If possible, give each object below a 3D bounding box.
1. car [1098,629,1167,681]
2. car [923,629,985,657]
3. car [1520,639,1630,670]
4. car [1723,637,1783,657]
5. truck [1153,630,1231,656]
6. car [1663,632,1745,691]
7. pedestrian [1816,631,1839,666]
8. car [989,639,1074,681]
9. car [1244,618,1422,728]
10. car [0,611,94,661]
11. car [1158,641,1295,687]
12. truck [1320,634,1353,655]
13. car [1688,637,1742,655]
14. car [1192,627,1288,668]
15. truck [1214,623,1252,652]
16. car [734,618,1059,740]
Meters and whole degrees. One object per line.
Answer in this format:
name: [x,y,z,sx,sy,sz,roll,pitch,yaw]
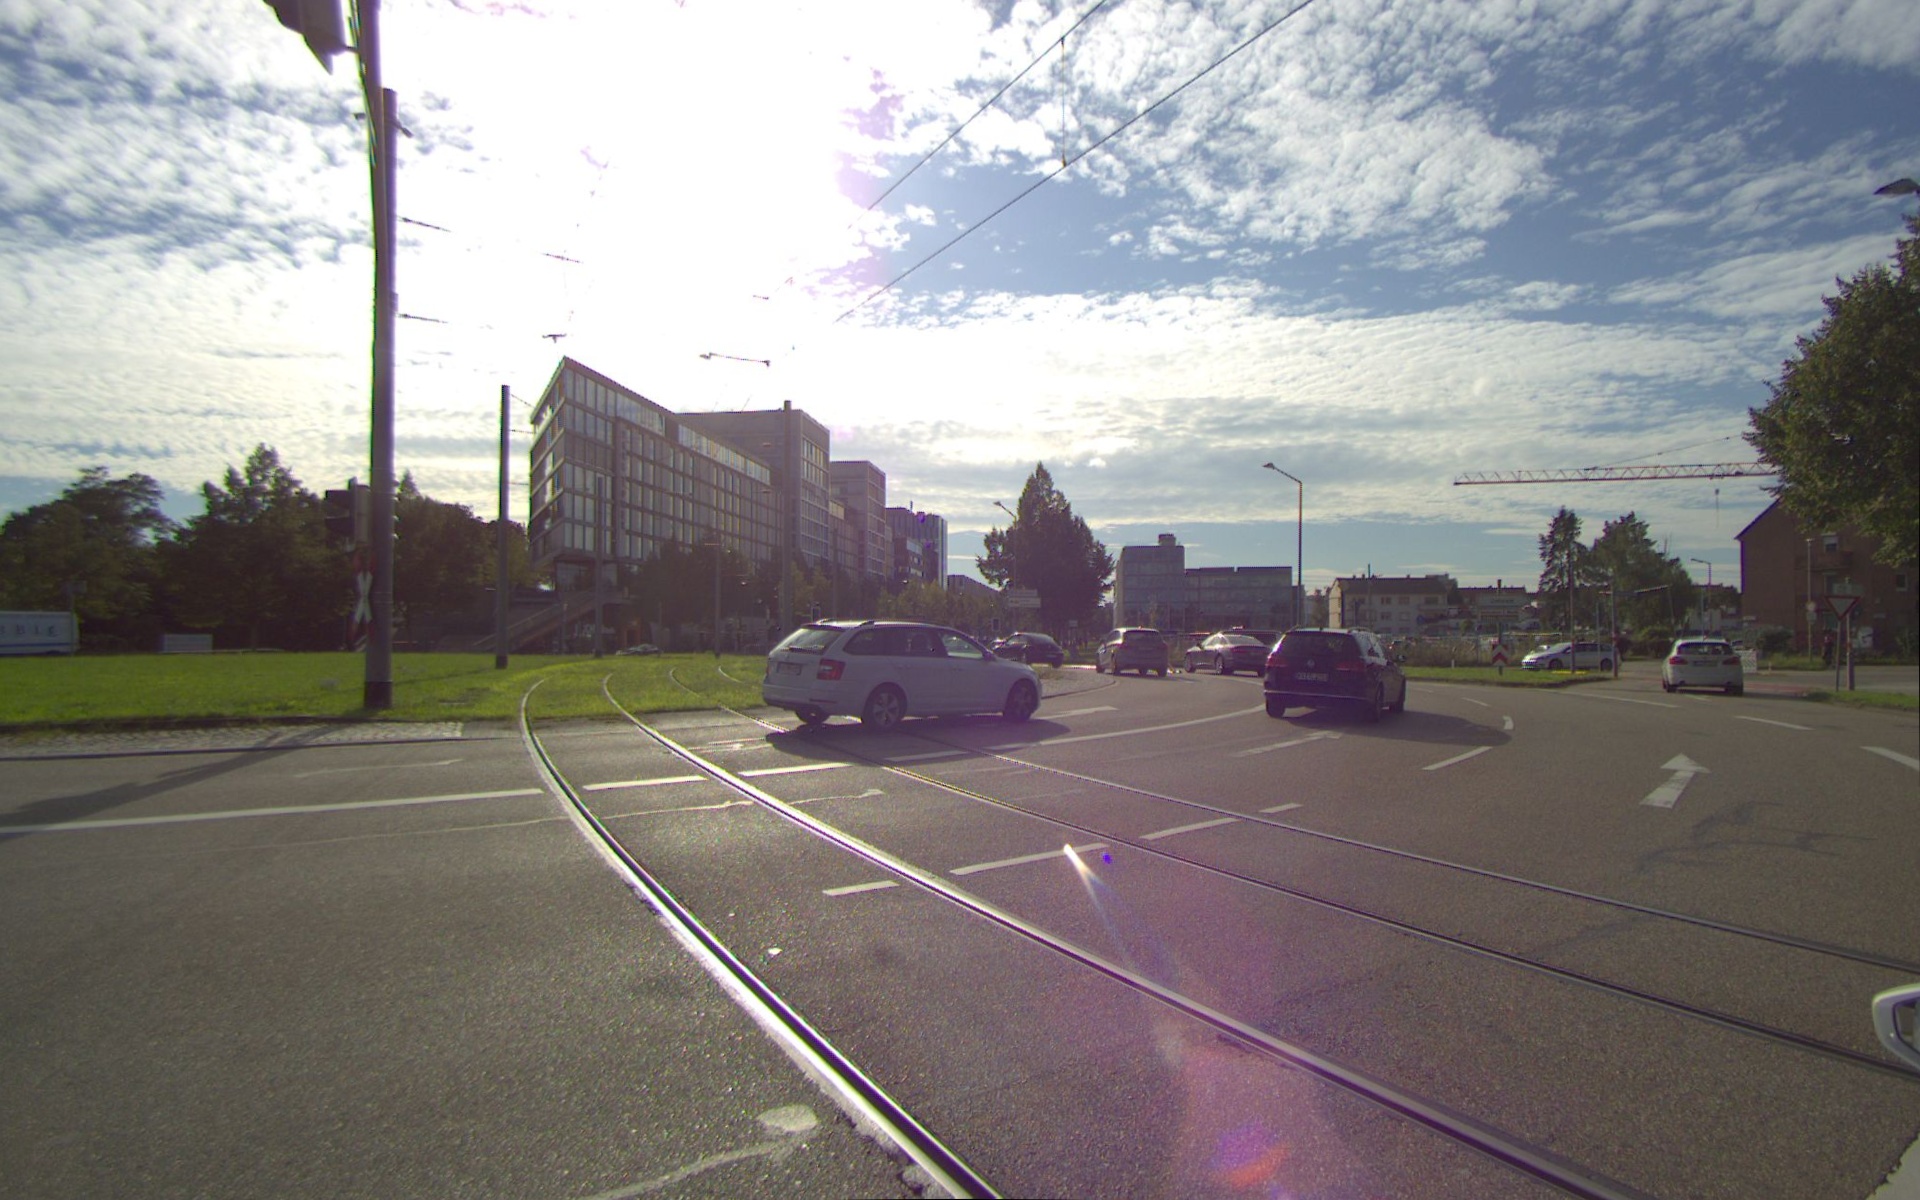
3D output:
car: [5.732,1.788,33.799,1.738,1.593,4.068,1,-1,2]
car: [-0.413,2.465,57.926,1.832,1.497,4.425,2,-1,-26]
car: [30.128,2.668,49.238,4.458,1.471,1.822,1,-2,-8]
car: [69.308,4.102,87.864,1.762,1.639,3.947,2,-3,-45]
truck: [24.400,4.487,105.762,7.701,2.601,3.077,0,-2,6]
car: [22.172,1.777,30.073,1.826,1.593,4.441,0,-1,35]
pedestrian: [47.594,2.637,55.108,0.825,1.895,0.664,1,-2,-28]
car: [3.063,2.582,43.902,1.973,1.561,3.974,2,0,-26]
car: [6.642,1.157,17.530,1.965,1.587,4.833,1,-1,32]
car: [-44.734,1.698,47.028,2.029,2.293,6.015,-3,-4,28]
car: [9.542,2.262,36.291,1.884,1.450,4.613,2,-1,-36]
truck: [43.874,5.195,117.081,2.022,2.358,5.642,0,-2,3]
car: [70.701,4.276,94.126,3.933,1.639,1.768,-1,-3,34]
car: [14.152,2.380,50.739,4.568,1.928,1.903,1,-1,17]
truck: [31.885,4.431,117.466,2.760,3.249,7.320,0,-2,3]
car: [-0.762,1.030,14.470,4.608,1.464,1.832,2,-2,-45]
